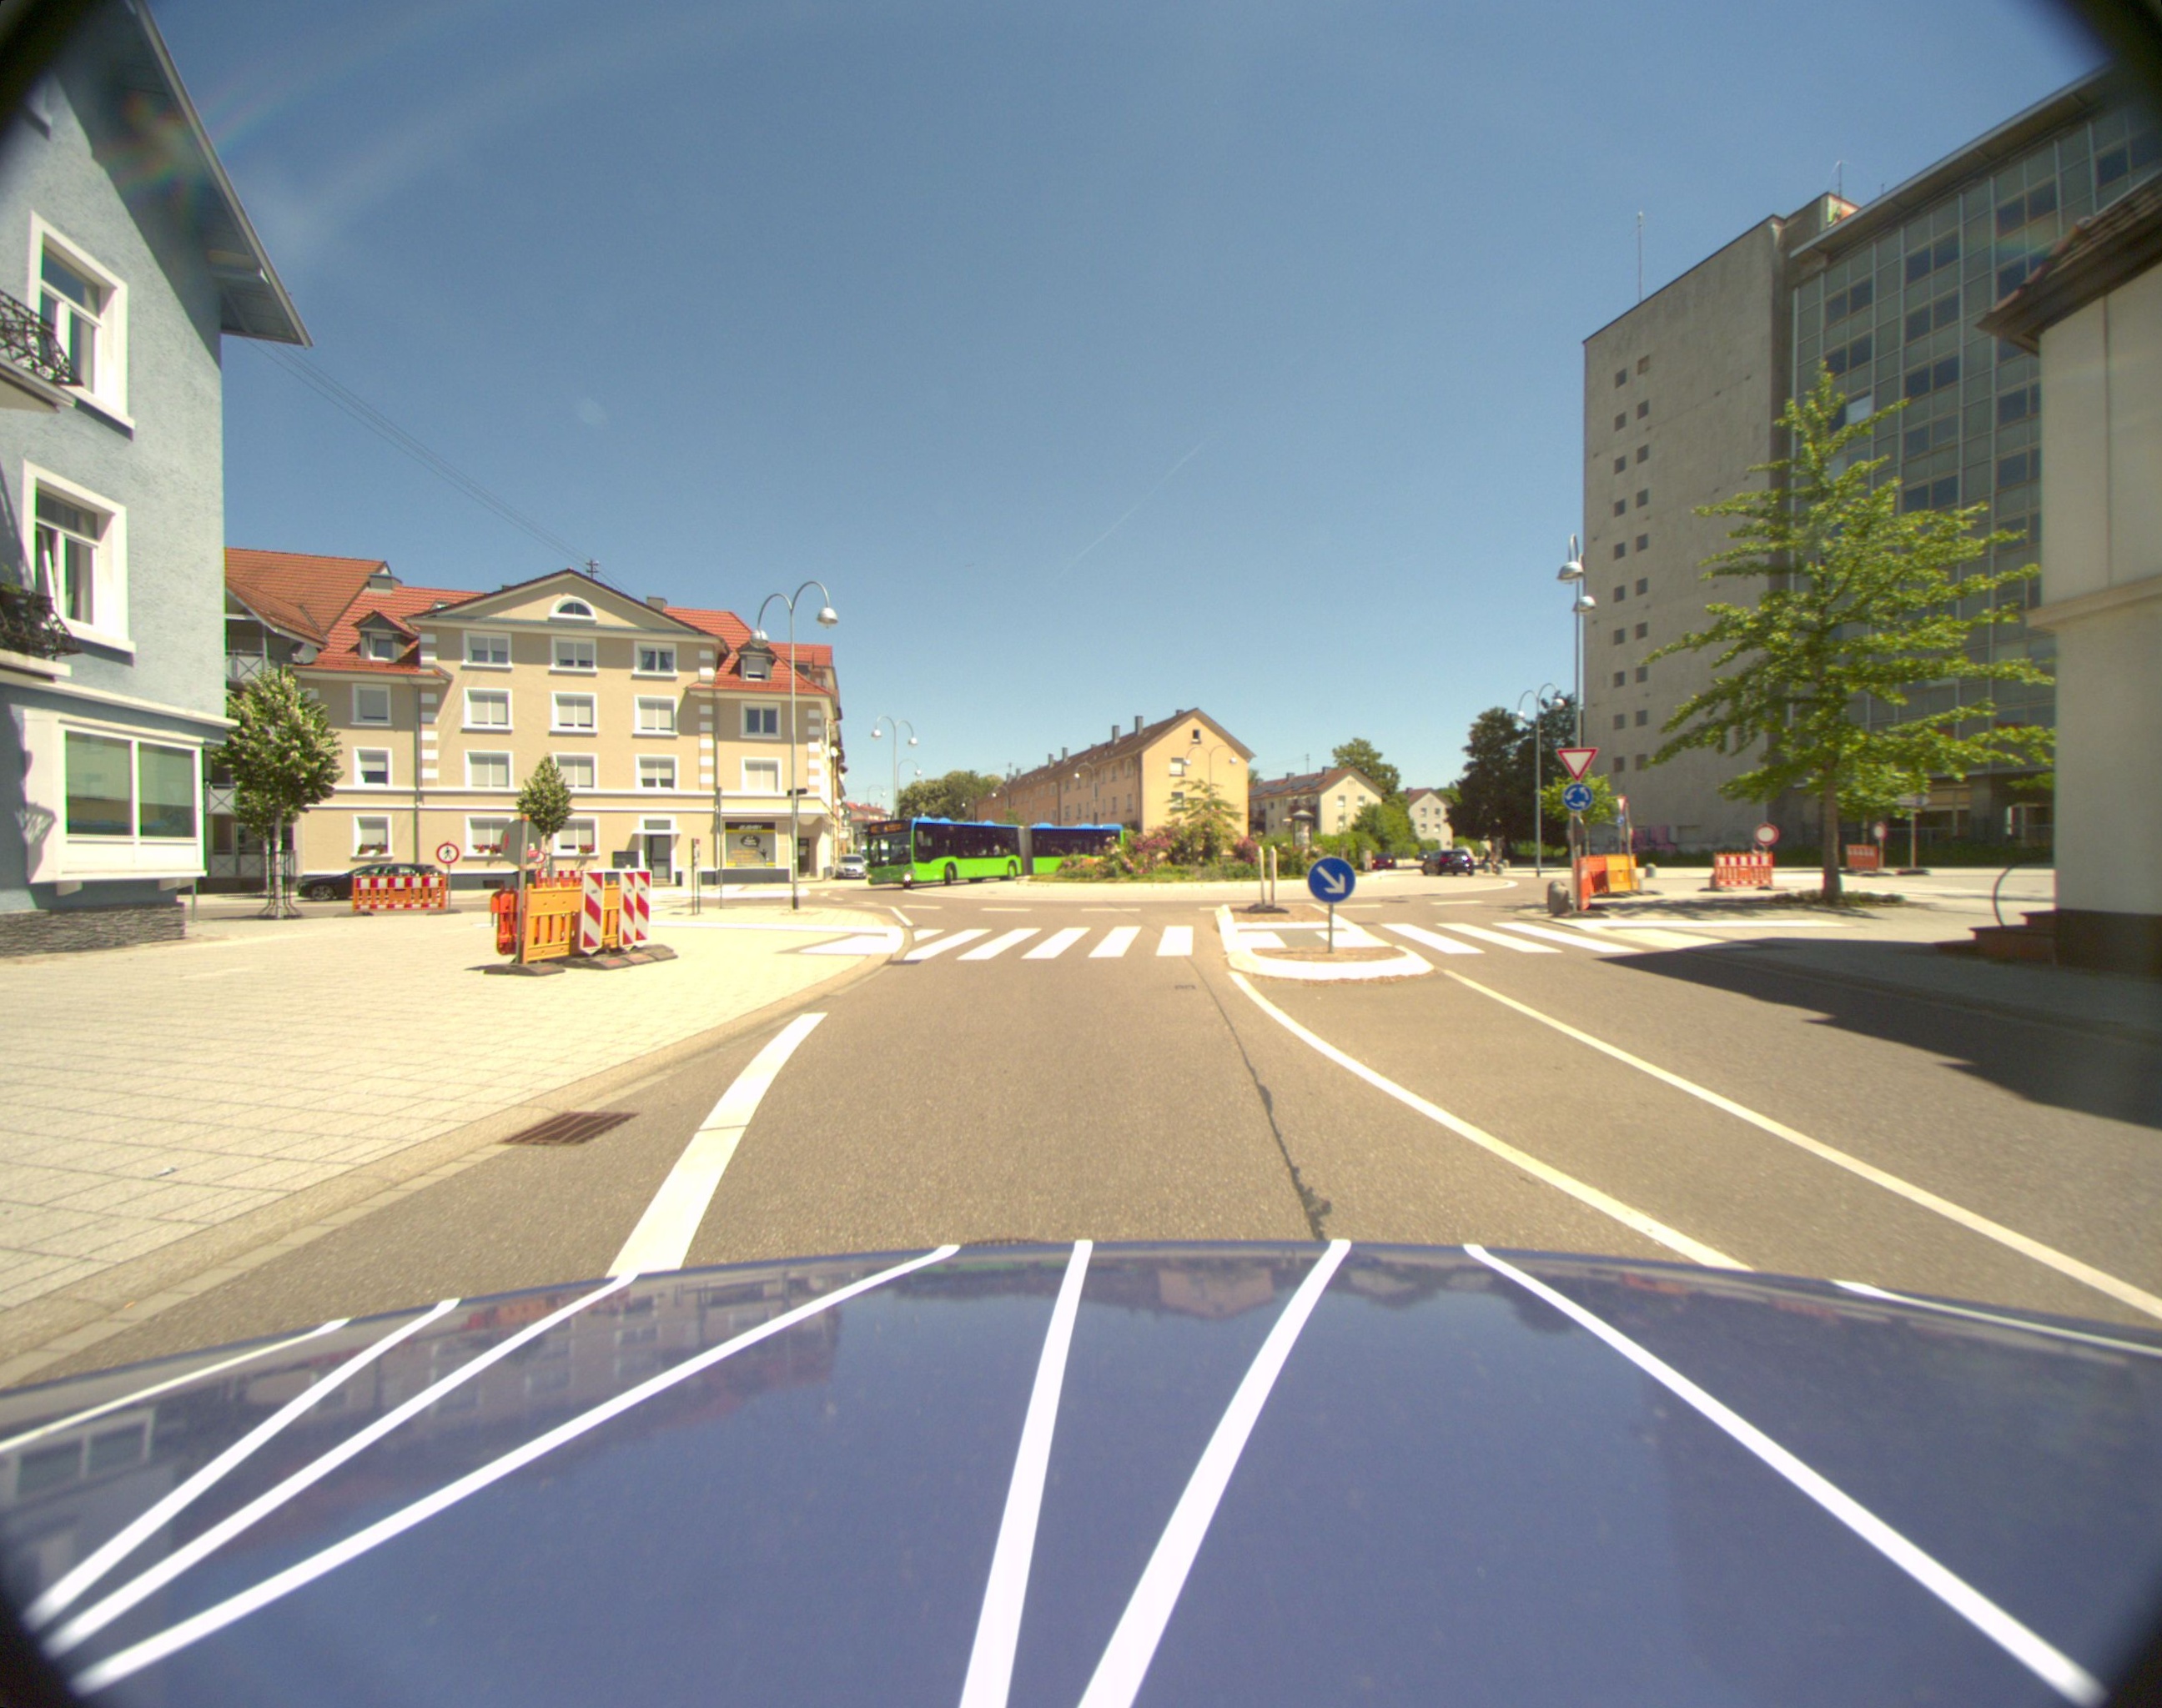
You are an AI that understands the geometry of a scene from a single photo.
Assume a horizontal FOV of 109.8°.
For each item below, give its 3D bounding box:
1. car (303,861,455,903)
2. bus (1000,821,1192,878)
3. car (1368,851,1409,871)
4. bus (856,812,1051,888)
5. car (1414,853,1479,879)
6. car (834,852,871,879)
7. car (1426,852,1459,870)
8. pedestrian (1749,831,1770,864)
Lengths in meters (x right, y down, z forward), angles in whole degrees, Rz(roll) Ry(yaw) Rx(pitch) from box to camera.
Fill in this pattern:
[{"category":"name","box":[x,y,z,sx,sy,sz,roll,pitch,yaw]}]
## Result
[{"category":"car","box":[-27.867,1.082,30.326,4.005,1.437,1.895,-1,2,-24]},{"category":"bus","box":[1.249,-0.349,45.852,12.585,3.043,2.923,-2,0,-39]},{"category":"car","box":[25.421,0.564,62.811,1.731,1.592,3.944,-1,0,45]},{"category":"bus","box":[-5.589,-0.181,37.293,2.906,3.062,12.583,-2,0,24]},{"category":"car","box":[19.659,0.634,41.014,1.730,1.288,4.001,-2,0,3]},{"category":"car","box":[-13.622,0.650,45.478,1.828,1.403,3.994,1,1,-13]},{"category":"car","box":[27.349,0.514,57.433,1.780,1.347,4.062,0,0,32]},{"category":"pedestrian","box":[29.859,-0.298,33.438,0.430,1.421,0.563,-2,1,-24]}]
